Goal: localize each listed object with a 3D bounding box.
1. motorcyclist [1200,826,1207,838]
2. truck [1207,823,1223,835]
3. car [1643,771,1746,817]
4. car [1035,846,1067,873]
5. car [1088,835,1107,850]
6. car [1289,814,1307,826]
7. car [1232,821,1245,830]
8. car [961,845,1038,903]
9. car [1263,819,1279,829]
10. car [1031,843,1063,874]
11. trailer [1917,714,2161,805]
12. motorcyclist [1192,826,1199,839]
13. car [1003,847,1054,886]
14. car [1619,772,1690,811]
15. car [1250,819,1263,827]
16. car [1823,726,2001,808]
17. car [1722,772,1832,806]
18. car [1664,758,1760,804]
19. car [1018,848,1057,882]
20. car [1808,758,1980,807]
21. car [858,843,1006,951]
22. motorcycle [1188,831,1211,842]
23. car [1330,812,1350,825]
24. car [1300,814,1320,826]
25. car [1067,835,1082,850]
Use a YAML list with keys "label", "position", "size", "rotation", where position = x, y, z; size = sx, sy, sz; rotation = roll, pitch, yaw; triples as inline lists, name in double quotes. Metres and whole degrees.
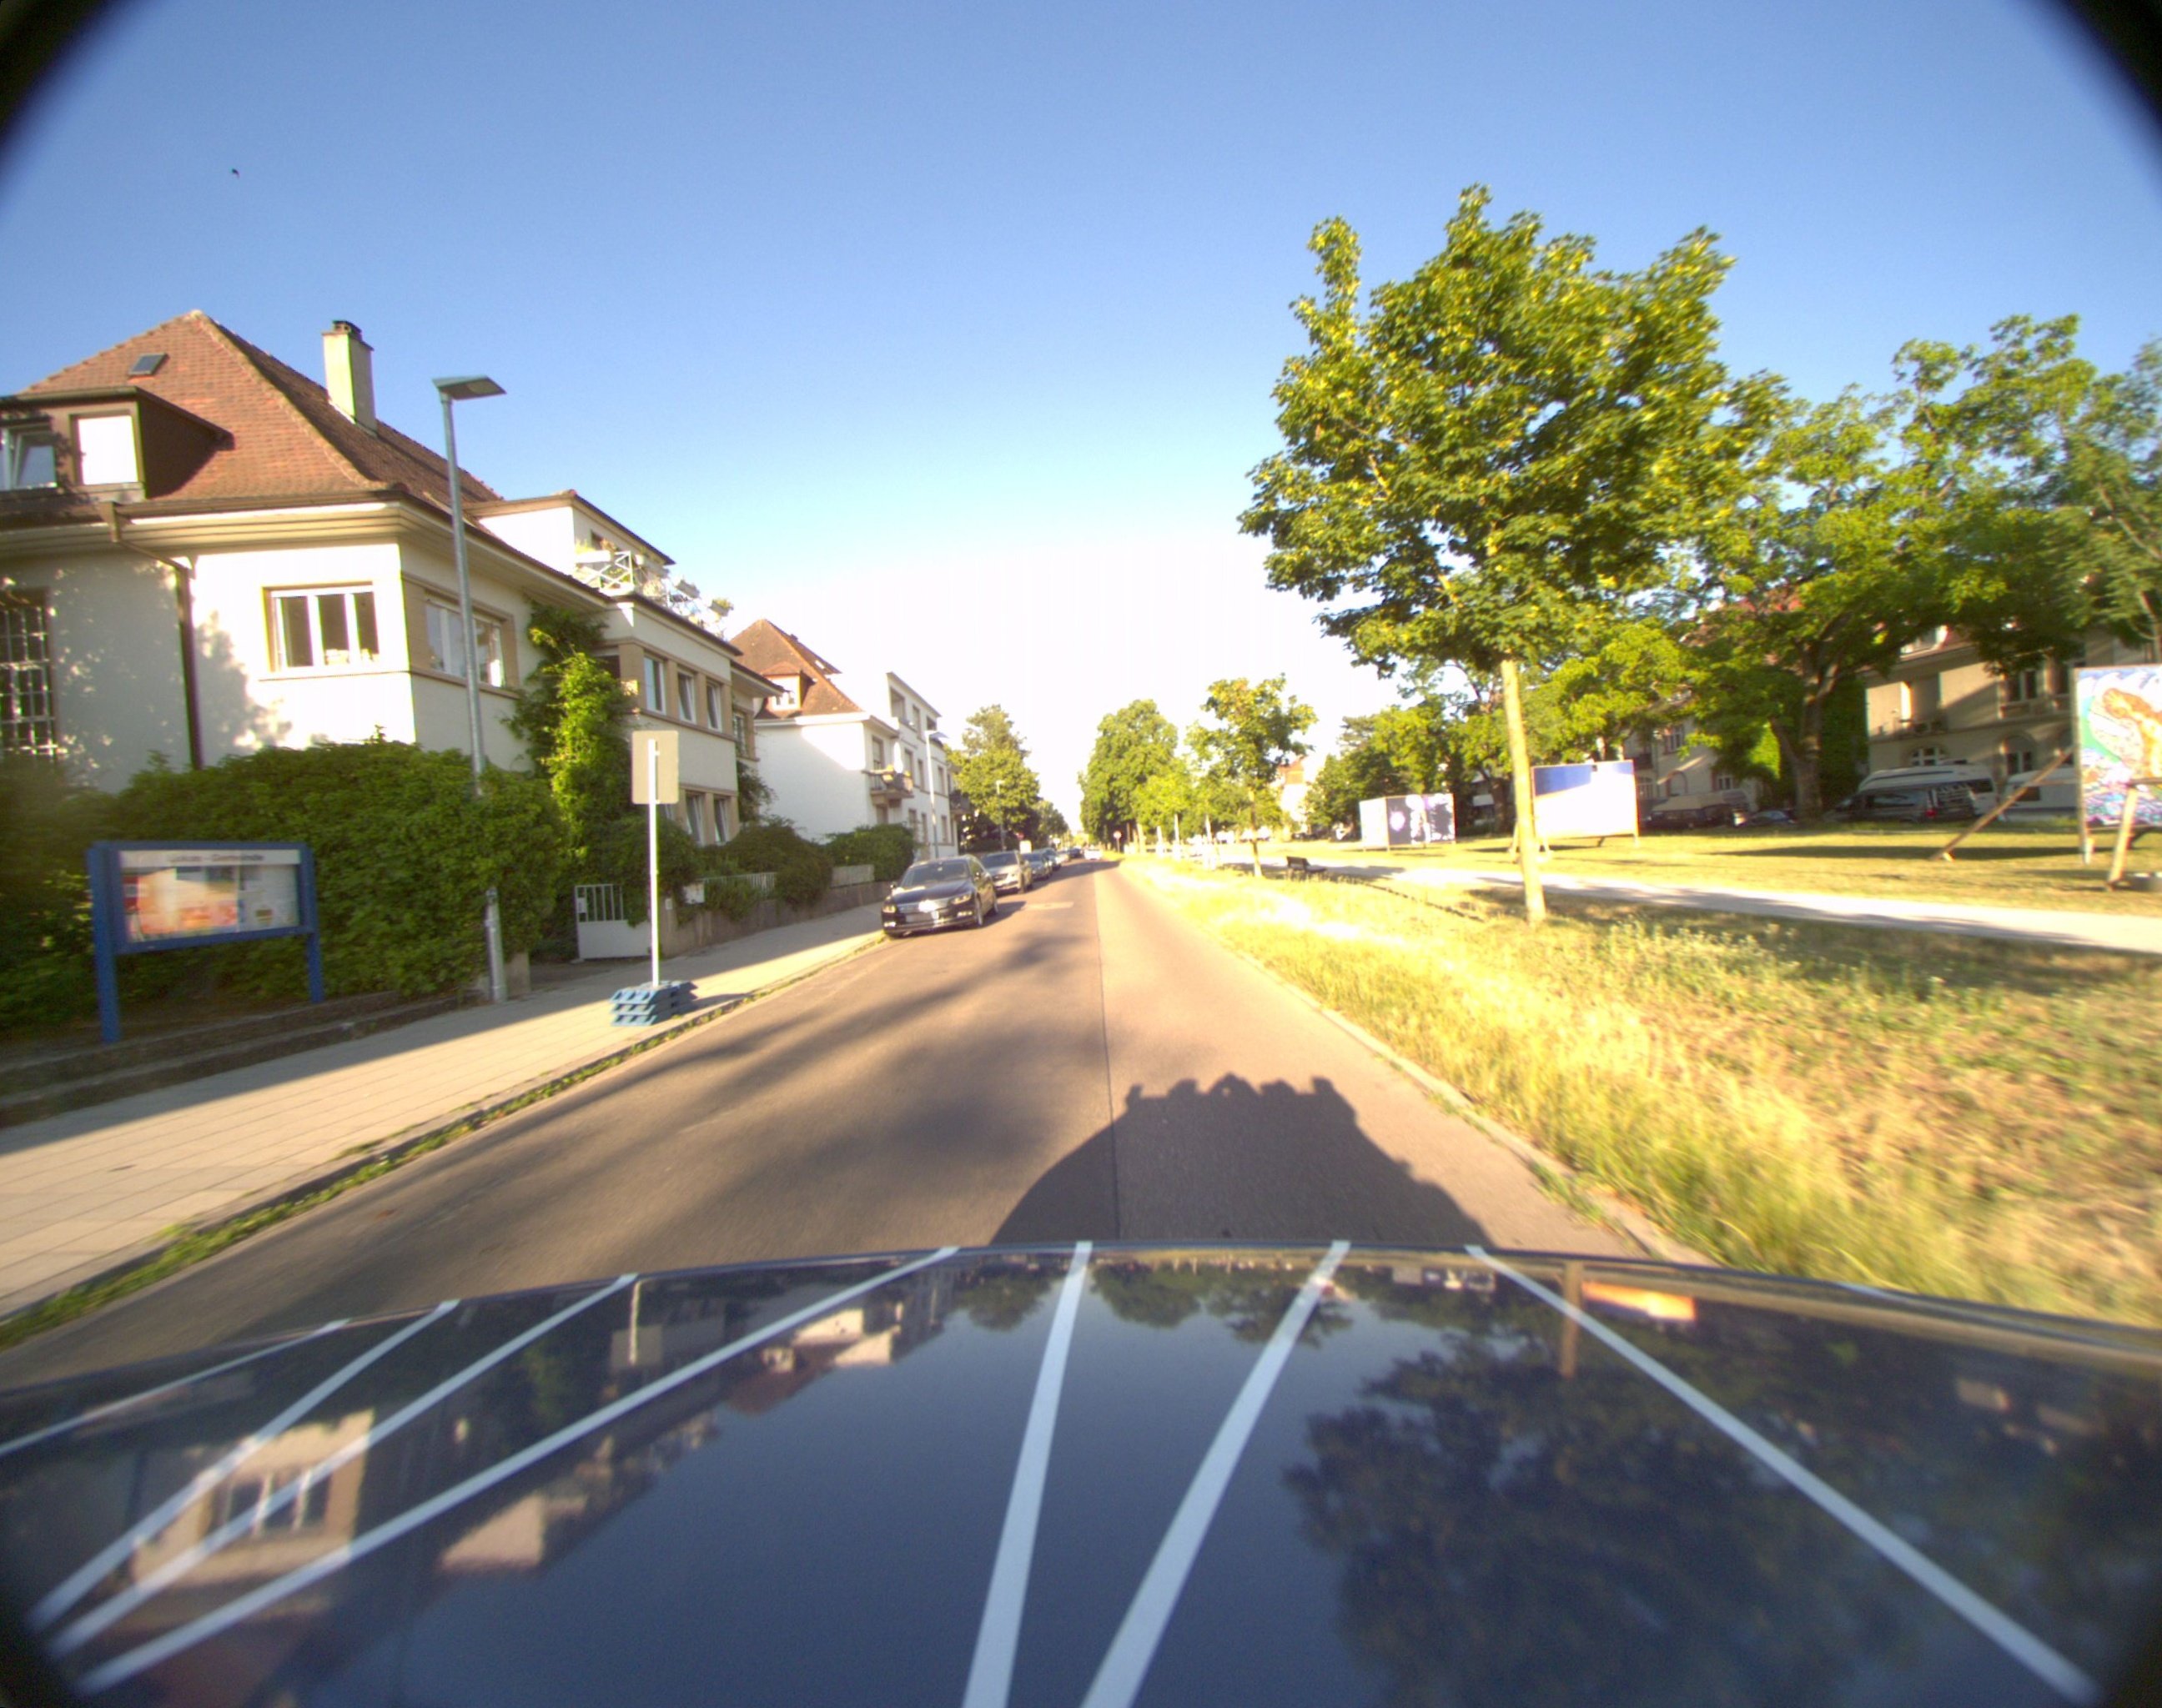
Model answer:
- label: "motorcyclist"
  position: [11.345, -2.037, 70.225]
  size: [0.574, 1.143, 0.751]
  rotation: [-4, 2, 11]
- label: "truck"
  position: [37.379, -6.860, 212.485]
  size: [2.785, 3.128, 7.709]
  rotation: [-4, 1, 0]
- label: "car"
  position: [34.478, -3.322, 42.900]
  size: [1.999, 2.162, 4.570]
  rotation: [-4, 1, -1]
- label: "car"
  position: [-2.233, 0.368, 57.621]
  size: [1.880, 1.525, 4.588]
  rotation: [-9, 2, 3]
- label: "car"
  position: [1.900, -1.316, 86.201]
  size: [1.998, 1.483, 4.000]
  rotation: [-3, 1, 1]
- label: "car"
  position: [35.697, -5.571, 125.163]
  size: [1.998, 1.834, 3.999]
  rotation: [0, 3, 2]
- label: "car"
  position: [36.680, -6.644, 176.803]
  size: [2.125, 2.003, 3.998]
  rotation: [0, 3, 0]
- label: "car"
  position: [-2.813, 0.633, 27.250]
  size: [1.888, 1.528, 4.460]
  rotation: [-7, 2, 3]
- label: "car"
  position: [36.341, -5.727, 145.568]
  size: [1.998, 1.693, 3.999]
  rotation: [-4, 1, 1]
- label: "car"
  position: [-2.271, 0.241, 51.776]
  size: [1.805, 1.639, 4.582]
  rotation: [-9, 3, 0]
- label: "trailer"
  position: [34.134, -3.091, 26.530]
  size: [2.479, 2.644, 6.633]
  rotation: [0, 3, 0]
- label: "motorcyclist"
  position: [10.603, -1.971, 70.374]
  size: [0.574, 1.143, 0.751]
  rotation: [-4, 2, 11]
- label: "car"
  position: [-2.531, 0.543, 37.582]
  size: [1.916, 1.550, 4.566]
  rotation: [-8, 0, 1]
- label: "car"
  position: [40.456, -4.369, 53.719]
  size: [1.998, 2.528, 3.998]
  rotation: [-3, 3, 1]
- label: "car"
  position: [42.138, -7.414, 182.553]
  size: [1.999, 1.835, 3.997]
  rotation: [0, 3, -2]
- label: "car"
  position: [40.130, -4.067, 37.001]
  size: [1.998, 3.231, 6.074]
  rotation: [-4, 1, 1]
- label: "car"
  position: [34.337, -3.183, 37.630]
  size: [1.857, 1.308, 4.041]
  rotation: [-5, 2, 4]
- label: "car"
  position: [40.459, -4.621, 48.928]
  size: [1.950, 2.625, 5.042]
  rotation: [0, 3, 1]
- label: "car"
  position: [-2.410, 0.585, 42.895]
  size: [1.767, 1.427, 4.301]
  rotation: [-10, 2, 0]
- label: "car"
  position: [34.369, -2.955, 32.379]
  size: [1.999, 1.633, 4.949]
  rotation: [-5, 2, 0]
- label: "car"
  position: [-2.935, 0.746, 16.223]
  size: [1.998, 1.589, 4.884]
  rotation: [-8, 2, 0]
- label: "motorcycle"
  position: [10.948, -1.599, 70.325]
  size: [2.108, 0.952, 0.566]
  rotation: [-2, 2, 9]
- label: "car"
  position: [41.678, -5.694, 122.359]
  size: [1.998, 2.002, 4.000]
  rotation: [-4, 2, 4]
- label: "car"
  position: [35.653, -5.270, 118.397]
  size: [1.998, 1.834, 3.999]
  rotation: [0, 3, 2]
- label: "car"
  position: [-0.997, -1.843, 117.834]
  size: [1.998, 2.179, 4.000]
  rotation: [-3, 1, 2]
